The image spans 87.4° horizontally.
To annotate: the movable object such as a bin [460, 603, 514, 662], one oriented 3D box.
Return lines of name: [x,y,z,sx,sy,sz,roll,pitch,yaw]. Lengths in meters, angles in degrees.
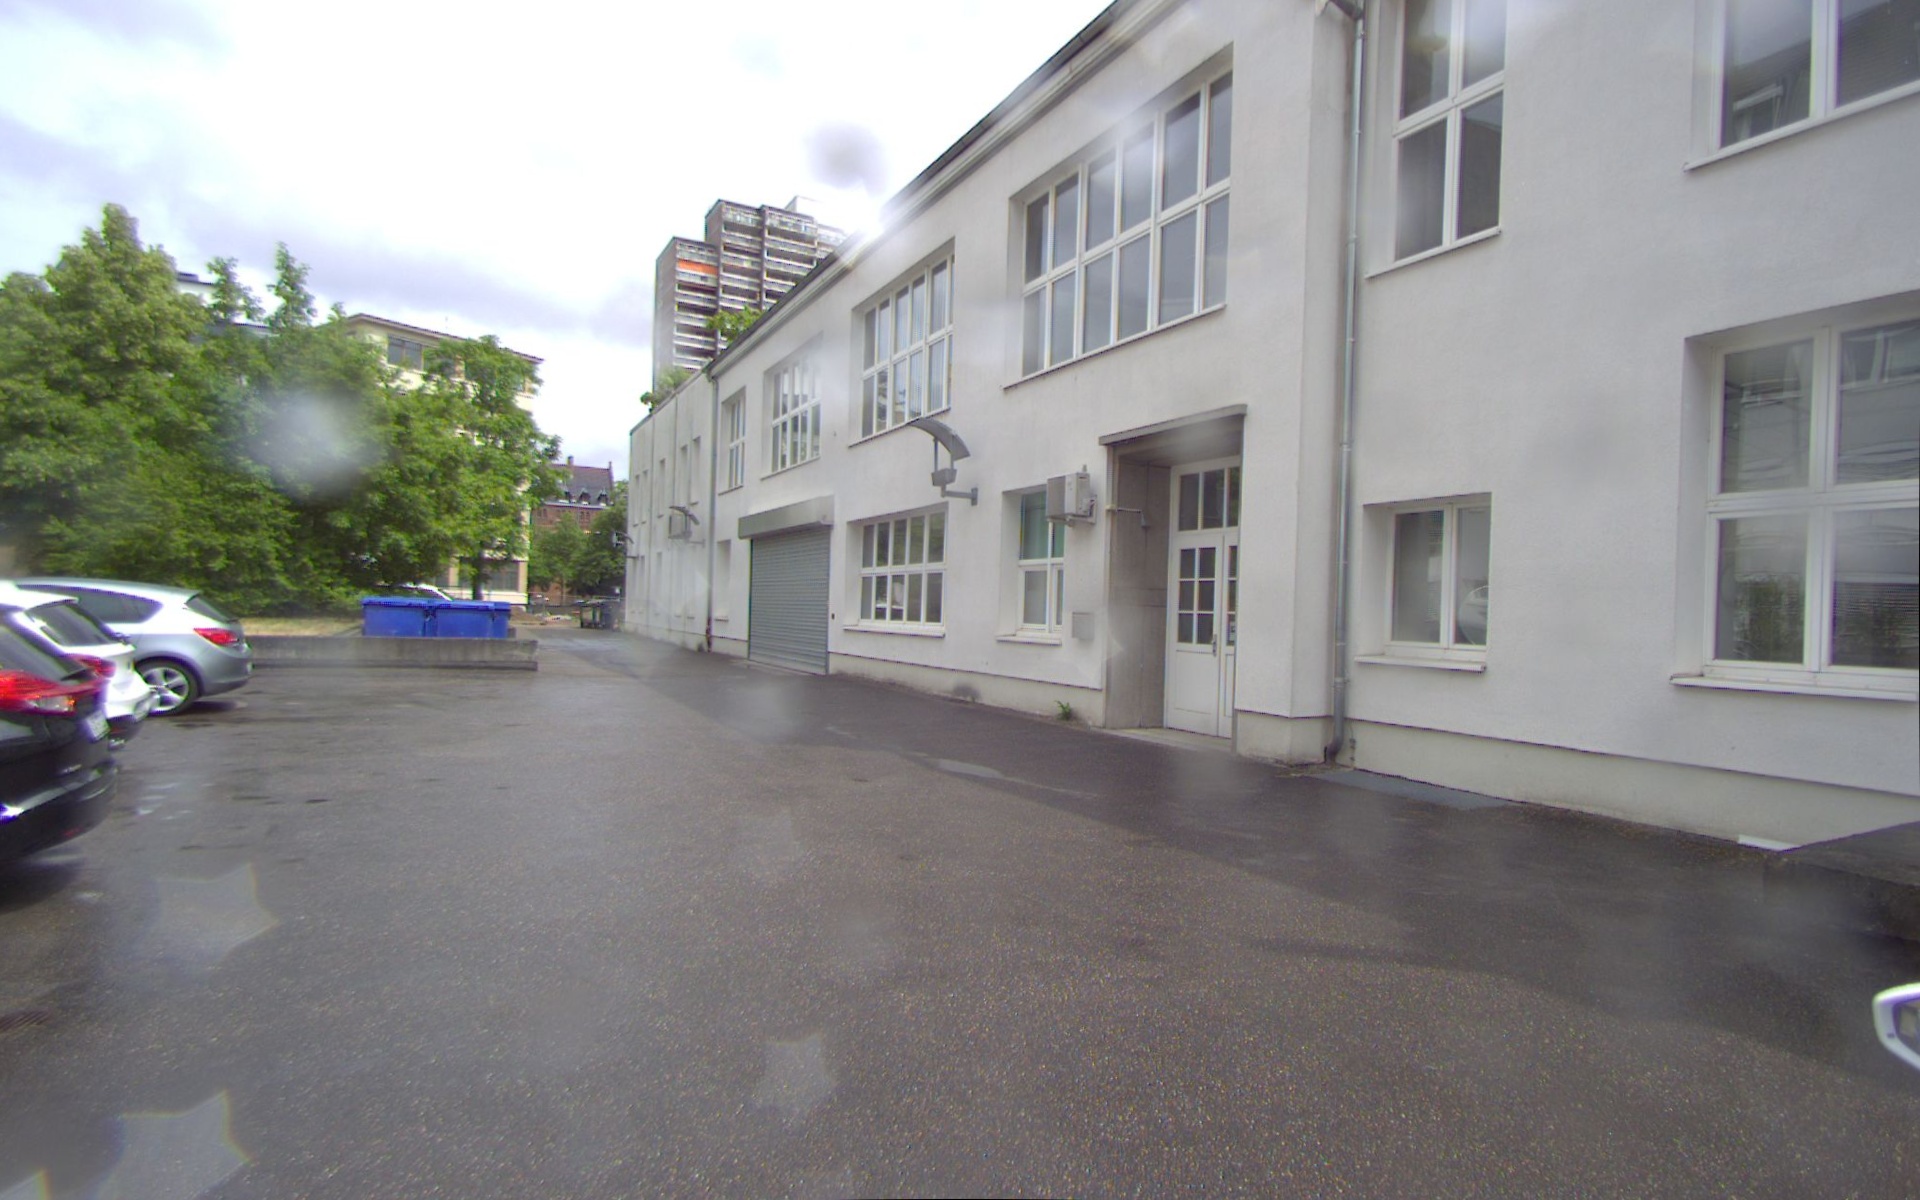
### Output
movable object such as a bin: [-11.238,0.764,23.895,1.116,1.346,1.201,1,0,-25]

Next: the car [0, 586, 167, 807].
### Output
car: [-8.040,0.583,6.708,4.082,1.461,1.681,3,-1,-33]

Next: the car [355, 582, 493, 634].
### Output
car: [-19.481,0.287,36.728,4.273,1.750,1.713,2,0,-23]

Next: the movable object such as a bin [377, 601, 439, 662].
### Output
movable object such as a bin: [-12.640,0.715,23.049,1.116,1.346,1.201,1,0,-25]

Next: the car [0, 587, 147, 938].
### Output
car: [-6.057,0.600,3.928,4.273,1.461,1.746,3,-1,-35]

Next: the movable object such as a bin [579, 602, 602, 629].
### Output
movable object such as a bin: [-19.774,0.842,53.686,1.052,1.374,1.257,1,0,-24]

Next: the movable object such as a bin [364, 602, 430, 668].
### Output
movable object such as a bin: [-12.020,0.735,21.498,1.116,1.346,1.201,1,0,-25]

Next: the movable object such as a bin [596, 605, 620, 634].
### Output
movable object such as a bin: [-16.951,0.930,48.349,0.965,1.374,0.914,1,0,-25]

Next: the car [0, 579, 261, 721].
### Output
car: [-10.427,0.514,11.159,4.273,1.461,1.746,3,-1,-35]

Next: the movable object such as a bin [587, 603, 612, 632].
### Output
movable object such as a bin: [-17.885,0.877,49.789,1.032,1.374,1.200,1,0,-24]

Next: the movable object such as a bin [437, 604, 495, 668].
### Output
movable object such as a bin: [-10.848,0.775,22.108,1.080,1.343,1.201,1,0,-25]

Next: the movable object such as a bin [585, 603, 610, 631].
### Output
movable object such as a bin: [-18.433,0.884,51.076,1.049,1.374,1.211,1,0,-24]

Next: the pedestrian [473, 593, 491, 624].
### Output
pedestrian: [-28.402,0.514,59.638,0.851,1.838,0.856,1,0,-33]
